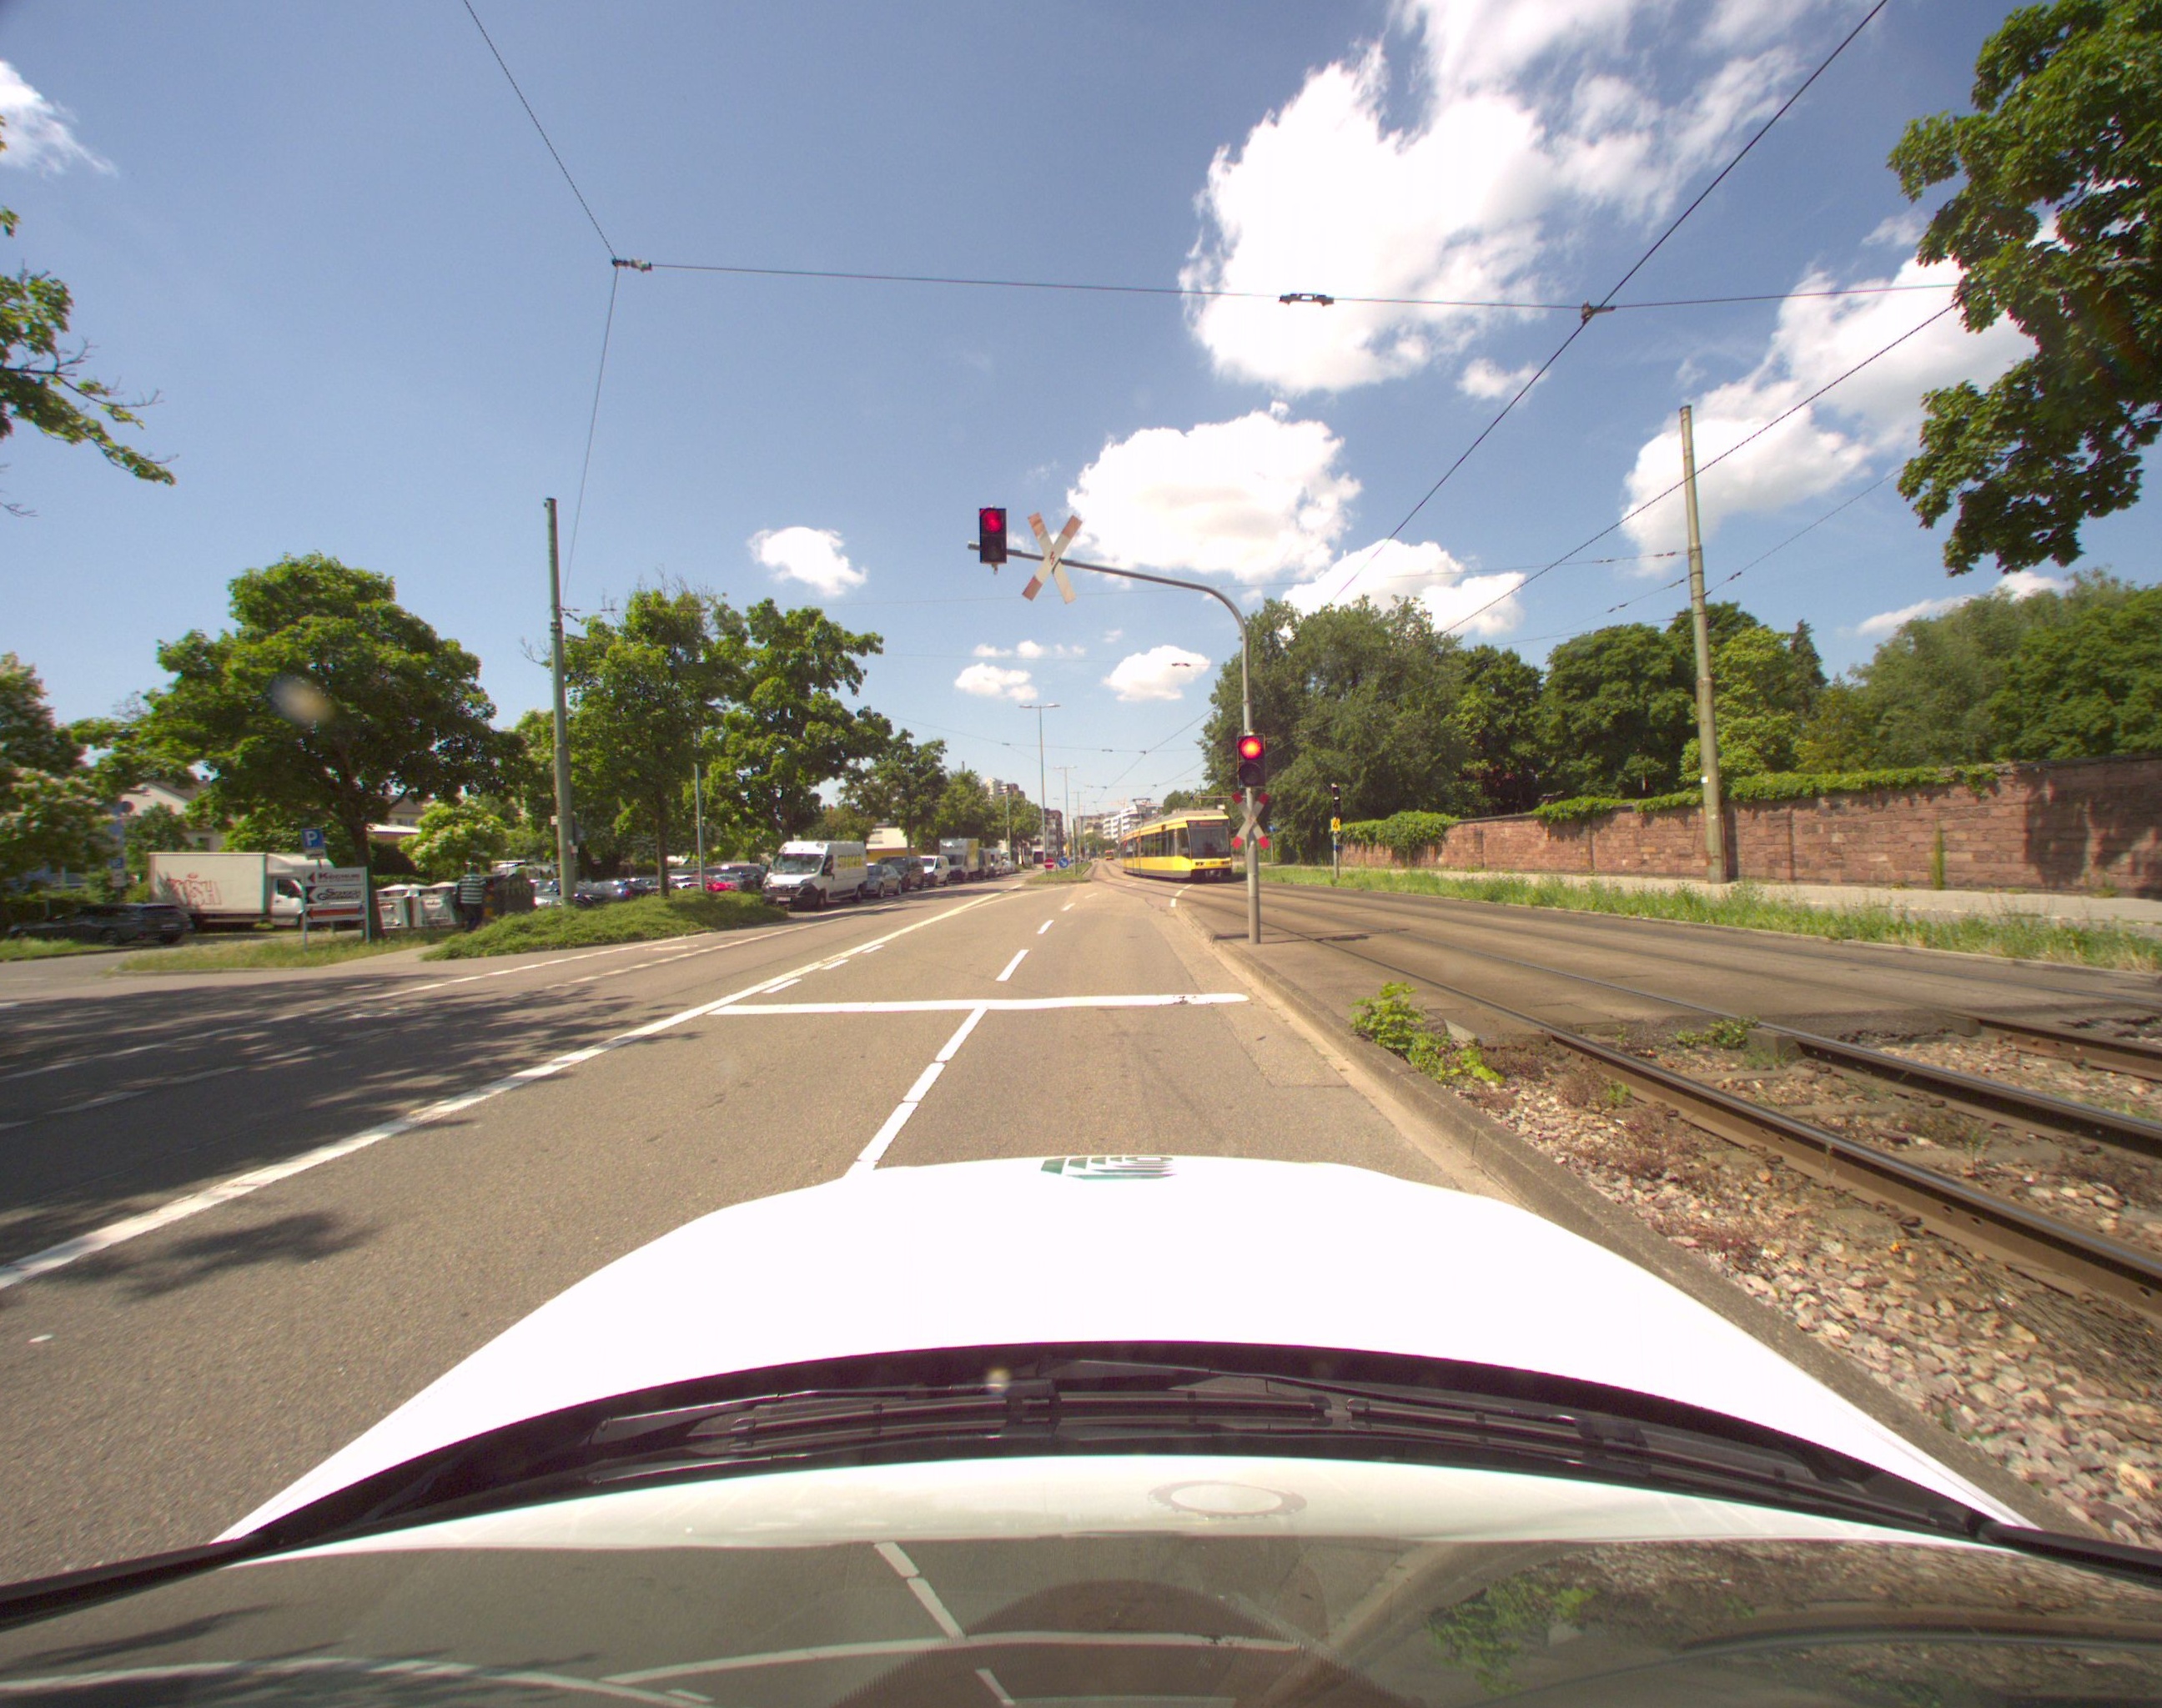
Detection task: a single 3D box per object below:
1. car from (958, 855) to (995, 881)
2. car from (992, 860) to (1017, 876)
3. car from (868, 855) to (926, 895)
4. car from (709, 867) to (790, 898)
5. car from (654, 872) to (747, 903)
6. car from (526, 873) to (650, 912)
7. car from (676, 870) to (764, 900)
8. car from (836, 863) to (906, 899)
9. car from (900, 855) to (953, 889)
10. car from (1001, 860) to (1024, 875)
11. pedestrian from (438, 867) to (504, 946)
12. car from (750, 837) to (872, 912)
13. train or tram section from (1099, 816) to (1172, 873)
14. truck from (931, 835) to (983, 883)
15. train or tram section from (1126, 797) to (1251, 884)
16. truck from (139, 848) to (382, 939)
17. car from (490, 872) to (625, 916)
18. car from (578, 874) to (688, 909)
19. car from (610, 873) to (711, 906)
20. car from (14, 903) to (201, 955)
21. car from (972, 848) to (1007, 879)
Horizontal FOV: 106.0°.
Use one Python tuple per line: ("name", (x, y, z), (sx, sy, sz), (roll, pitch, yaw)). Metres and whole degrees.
("car", (-8.450, 1.102, 66.245), (2.053, 1.977, 4.873), (-3, 0, 2))
("car", (-8.206, 1.471, 87.911), (2.053, 1.582, 4.873), (-3, 0, 2))
("car", (-9.724, 1.063, 43.394), (1.861, 1.895, 4.273), (-3, 0, 2))
("car", (-19.534, 1.658, 48.059), (3.974, 1.606, 1.805), (-3, 0, 0))
("car", (-19.899, 1.737, 42.722), (3.974, 1.339, 1.805), (-3, 0, 0))
("car", (-20.544, 1.596, 34.050), (3.974, 1.339, 1.805), (-3, 0, 0))
("car", (-20.043, 1.700, 45.292), (3.973, 1.442, 1.805), (-3, 0, 0))
("car", (-9.463, 1.188, 37.132), (1.861, 1.437, 4.344), (-3, 0, 2))
("car", (-9.465, 1.053, 50.290), (2.053, 1.898, 4.873), (-3, 0, 2))
("car", (-7.950, 1.521, 95.136), (2.053, 1.582, 4.873), (-3, 0, 2))
("pedestrian", (-14.711, 1.240, 19.671), (0.975, 1.823, 0.791), (-3, 0, -14))
("car", (-9.969, 0.684, 30.781), (2.147, 2.487, 6.199), (1, 0, 4))
("train or tram section", (3.809, -0.653, 63.539), (2.938, 3.692, 20.254), (-1, 0, -4))
("truck", (-8.866, 0.318, 58.881), (2.147, 3.210, 7.089), (1, 0, 4))
("train or tram section", (5.136, -0.603, 44.293), (2.938, 3.692, 18.359), (-1, 0, -4))
("truck", (-32.943, 1.544, 32.889), (7.166, 3.227, 2.331), (-3, 0, -1))
("car", (-20.253, 1.539, 31.620), (3.974, 1.442, 1.805), (-3, 0, 0))
("car", (-20.585, 1.714, 37.513), (3.974, 1.339, 1.805), (-3, 0, 0))
("car", (-20.676, 1.728, 40.153), (3.974, 1.339, 1.805), (-3, 0, 0))
("car", (-32.208, 2.457, 27.031), (3.975, 1.399, 1.772), (-3, 0, -1))
("car", (-8.254, 0.806, 74.177), (2.147, 2.639, 5.617), (1, 0, 4))
